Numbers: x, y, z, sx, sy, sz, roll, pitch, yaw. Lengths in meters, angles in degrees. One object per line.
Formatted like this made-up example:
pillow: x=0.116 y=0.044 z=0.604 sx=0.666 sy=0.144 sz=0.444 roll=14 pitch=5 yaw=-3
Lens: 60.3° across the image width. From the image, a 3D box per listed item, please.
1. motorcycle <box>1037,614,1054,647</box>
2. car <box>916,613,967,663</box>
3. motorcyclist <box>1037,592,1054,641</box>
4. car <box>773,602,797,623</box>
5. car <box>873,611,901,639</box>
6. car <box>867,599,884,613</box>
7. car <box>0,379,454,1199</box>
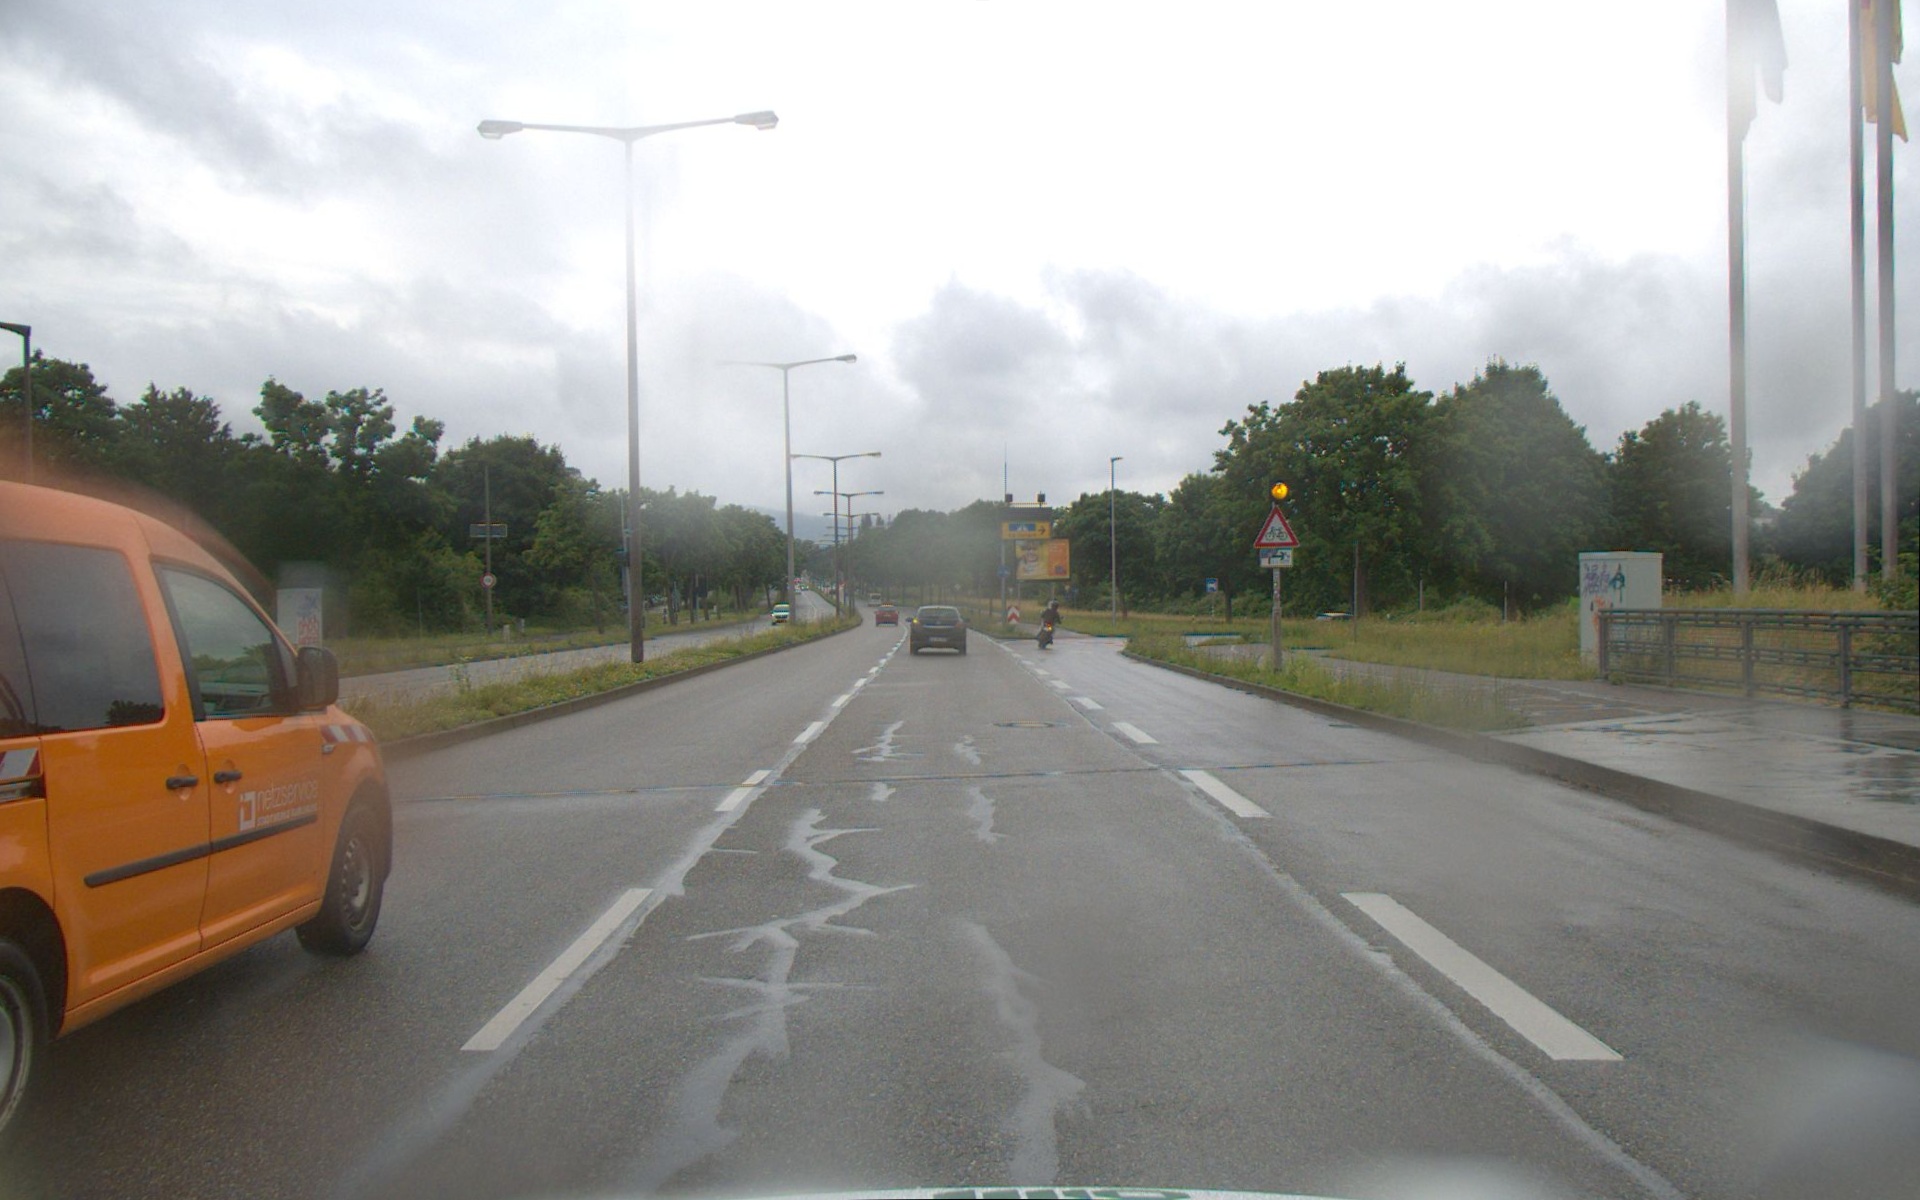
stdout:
motorcycle: x=3.011 y=1.061 z=58.303 sx=0.588 sy=1.112 sz=1.733 roll=0 pitch=0 yaw=4
car: x=-0.580 y=1.109 z=49.351 sx=1.433 sy=1.352 sz=3.756 roll=0 pitch=0 yaw=-2
motorcyclist: x=3.002 y=0.576 z=58.283 sx=0.588 sy=1.719 sz=0.861 roll=0 pitch=0 yaw=3
car: x=-15.031 y=1.085 z=142.422 sx=1.673 sy=1.658 sz=4.490 roll=-3 pitch=0 yaw=-2
car: x=-5.206 y=1.773 z=117.863 sx=1.953 sy=1.912 sz=3.998 roll=0 pitch=0 yaw=-2
car: x=-13.065 y=0.901 z=255.942 sx=2.467 sy=2.088 sz=5.287 roll=-1 pitch=0 yaw=-5
car: x=-3.210 y=0.512 z=5.410 sx=1.699 sy=2.054 sz=4.848 roll=0 pitch=-1 yaw=-1
